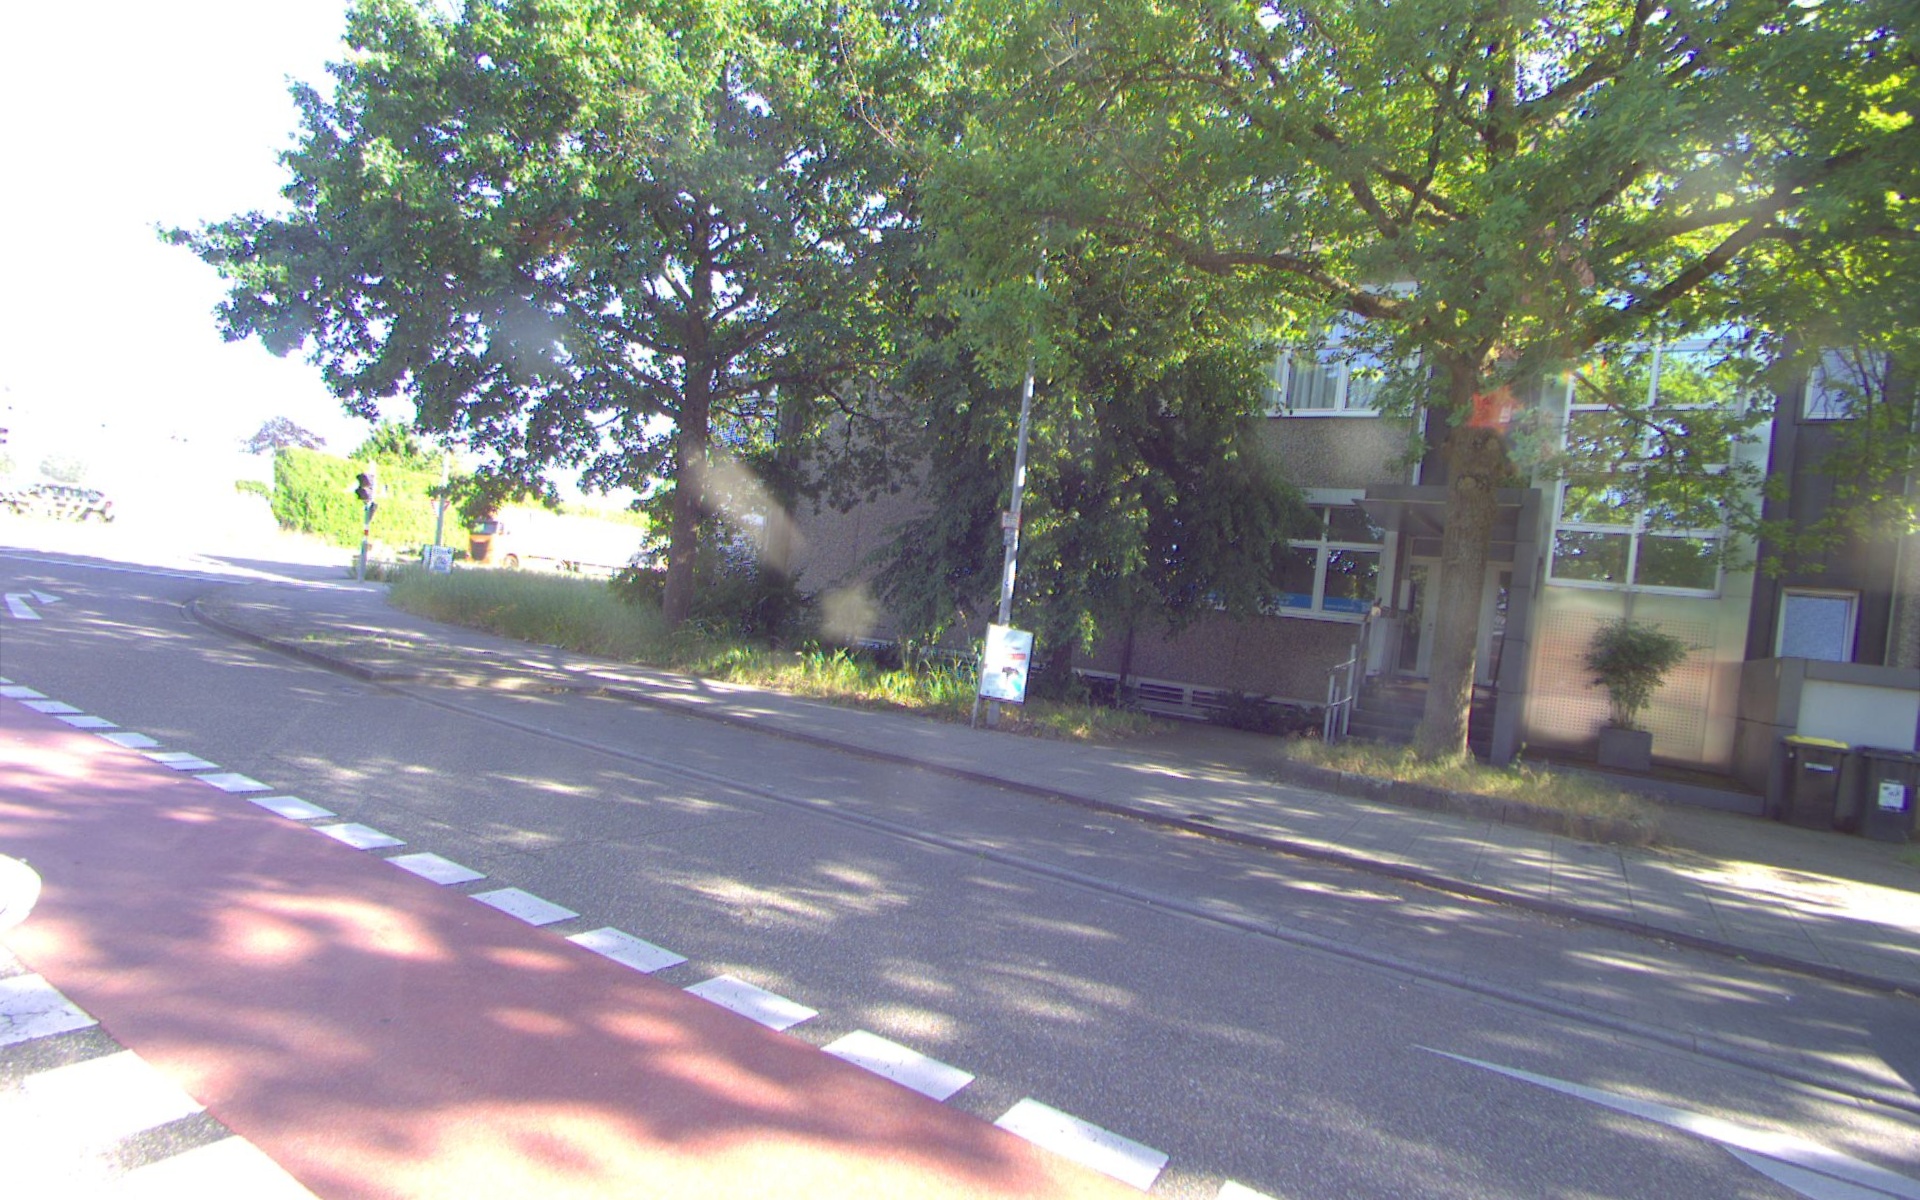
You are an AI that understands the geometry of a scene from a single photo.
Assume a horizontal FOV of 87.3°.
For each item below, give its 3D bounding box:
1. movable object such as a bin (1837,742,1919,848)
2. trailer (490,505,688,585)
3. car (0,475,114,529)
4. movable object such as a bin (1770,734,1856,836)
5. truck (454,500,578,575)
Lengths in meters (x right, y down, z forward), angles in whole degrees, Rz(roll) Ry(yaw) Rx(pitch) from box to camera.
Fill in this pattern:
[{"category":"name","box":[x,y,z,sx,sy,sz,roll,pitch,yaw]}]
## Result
[{"category":"movable object such as a bin","box":[10.758,2.255,11.718,0.605,1.075,0.634,6,0,30]},{"category":"trailer","box":[-25.600,-3.668,71.005,3.379,4.064,14.686,6,1,25]},{"category":"car","box":[-34.006,-3.644,36.941,1.737,1.545,4.073,7,1,27]},{"category":"movable object such as a bin","box":[10.169,2.187,12.012,0.575,1.070,0.625,7,0,30]},{"category":"truck","box":[-28.495,-3.917,64.828,3.379,4.066,6.485,7,2,25]}]
